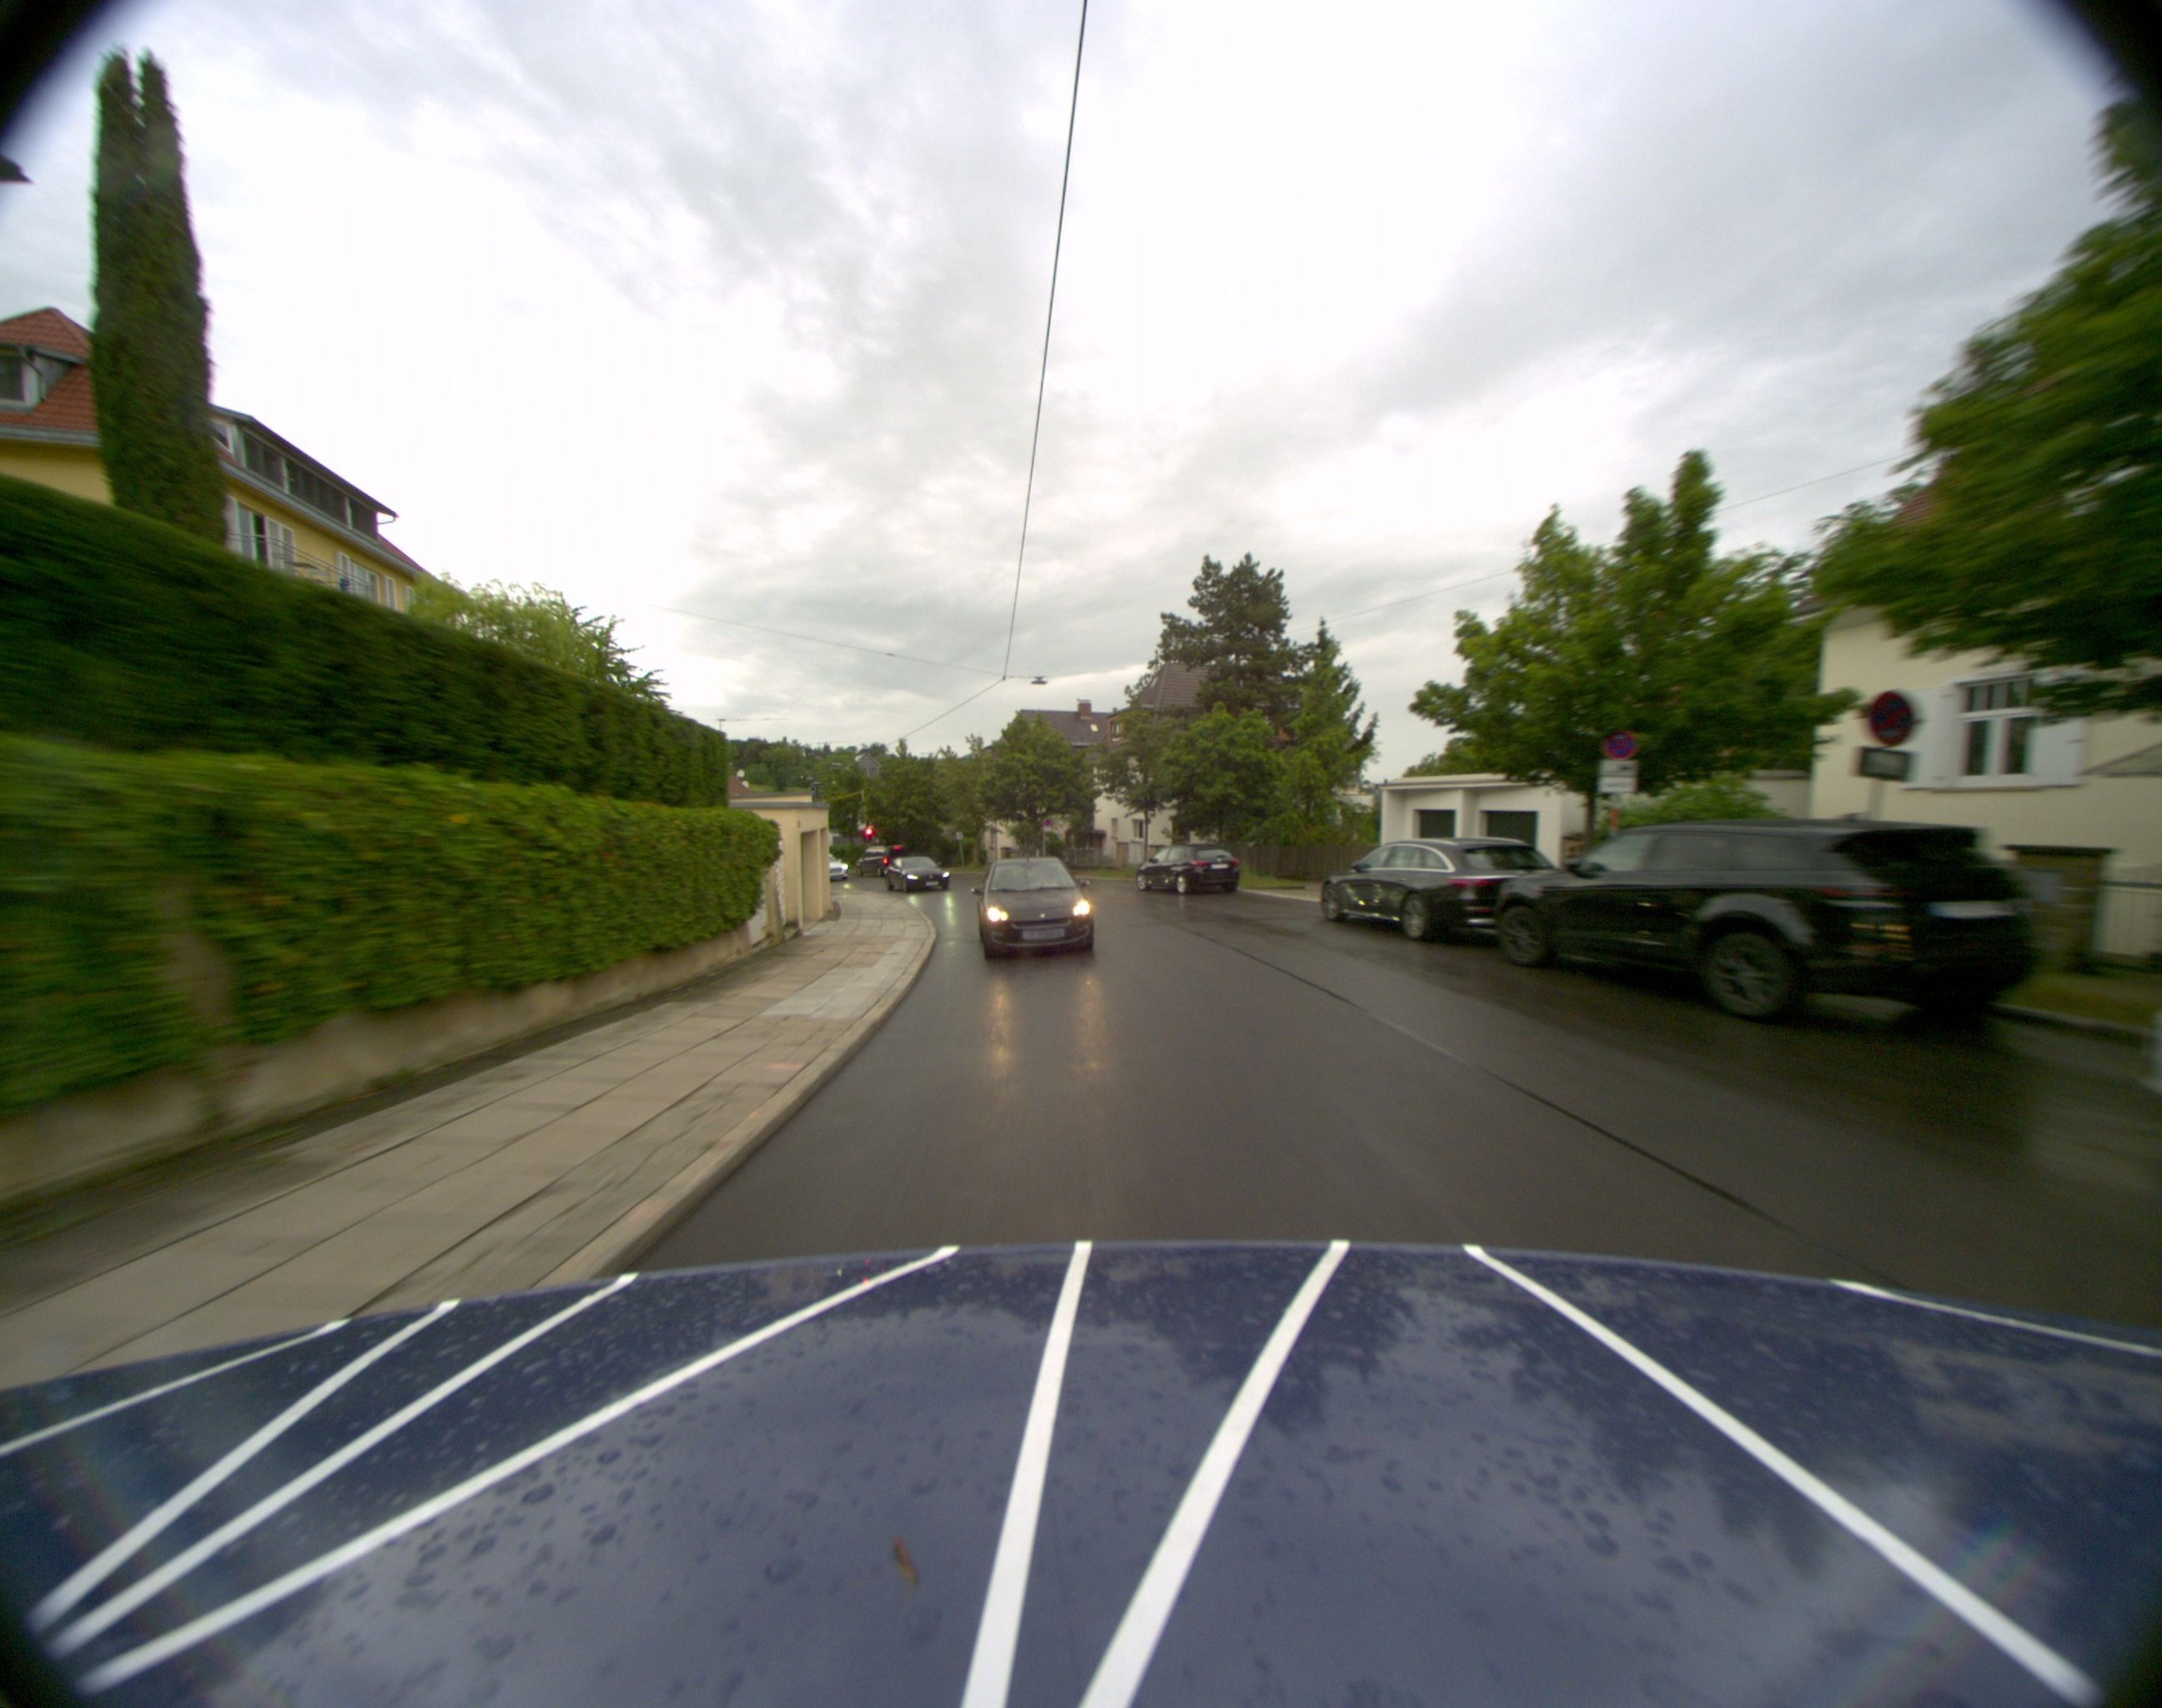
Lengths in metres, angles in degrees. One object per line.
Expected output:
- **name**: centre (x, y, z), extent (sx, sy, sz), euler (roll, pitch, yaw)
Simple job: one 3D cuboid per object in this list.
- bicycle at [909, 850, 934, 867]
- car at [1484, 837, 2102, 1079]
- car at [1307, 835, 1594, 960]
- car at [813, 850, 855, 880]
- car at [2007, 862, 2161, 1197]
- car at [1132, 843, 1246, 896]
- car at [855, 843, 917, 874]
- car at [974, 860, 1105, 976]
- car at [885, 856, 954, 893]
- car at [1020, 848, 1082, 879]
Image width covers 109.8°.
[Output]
- **bicycle**: centre (-12.529, 0.375, 59.670), extent (2.267, 1.265, 0.493), euler (-3, 3, 39)
- **car**: centre (5.856, 0.644, 7.139), extent (1.738, 1.537, 4.208), euler (-2, 1, -3)
- **car**: centre (5.528, 0.506, 12.261), extent (1.872, 1.537, 4.901), euler (-2, 1, -5)
- **car**: centre (-15.326, 0.613, 46.926), extent (2.004, 1.699, 4.564), euler (-2, 1, -23)
- **car**: centre (5.731, 0.787, 1.958), extent (1.738, 1.458, 3.998), euler (-2, 1, -3)
- **car**: centre (3.208, 0.418, 23.285), extent (1.677, 1.458, 3.887), euler (-2, 1, -23)
- **car**: centre (-12.492, 0.276, 48.537), extent (1.906, 1.878, 5.139), euler (-2, 1, -38)
- **car**: centre (-0.894, 0.908, 12.987), extent (1.675, 1.458, 4.711), euler (-1, 1, -10)
- **car**: centre (-6.941, 0.813, 32.321), extent (1.847, 1.395, 4.062), euler (-2, 1, -27)
- **car**: centre (-2.168, 0.658, 54.392), extent (4.004, 1.575, 1.852), euler (9, -1, -14)
